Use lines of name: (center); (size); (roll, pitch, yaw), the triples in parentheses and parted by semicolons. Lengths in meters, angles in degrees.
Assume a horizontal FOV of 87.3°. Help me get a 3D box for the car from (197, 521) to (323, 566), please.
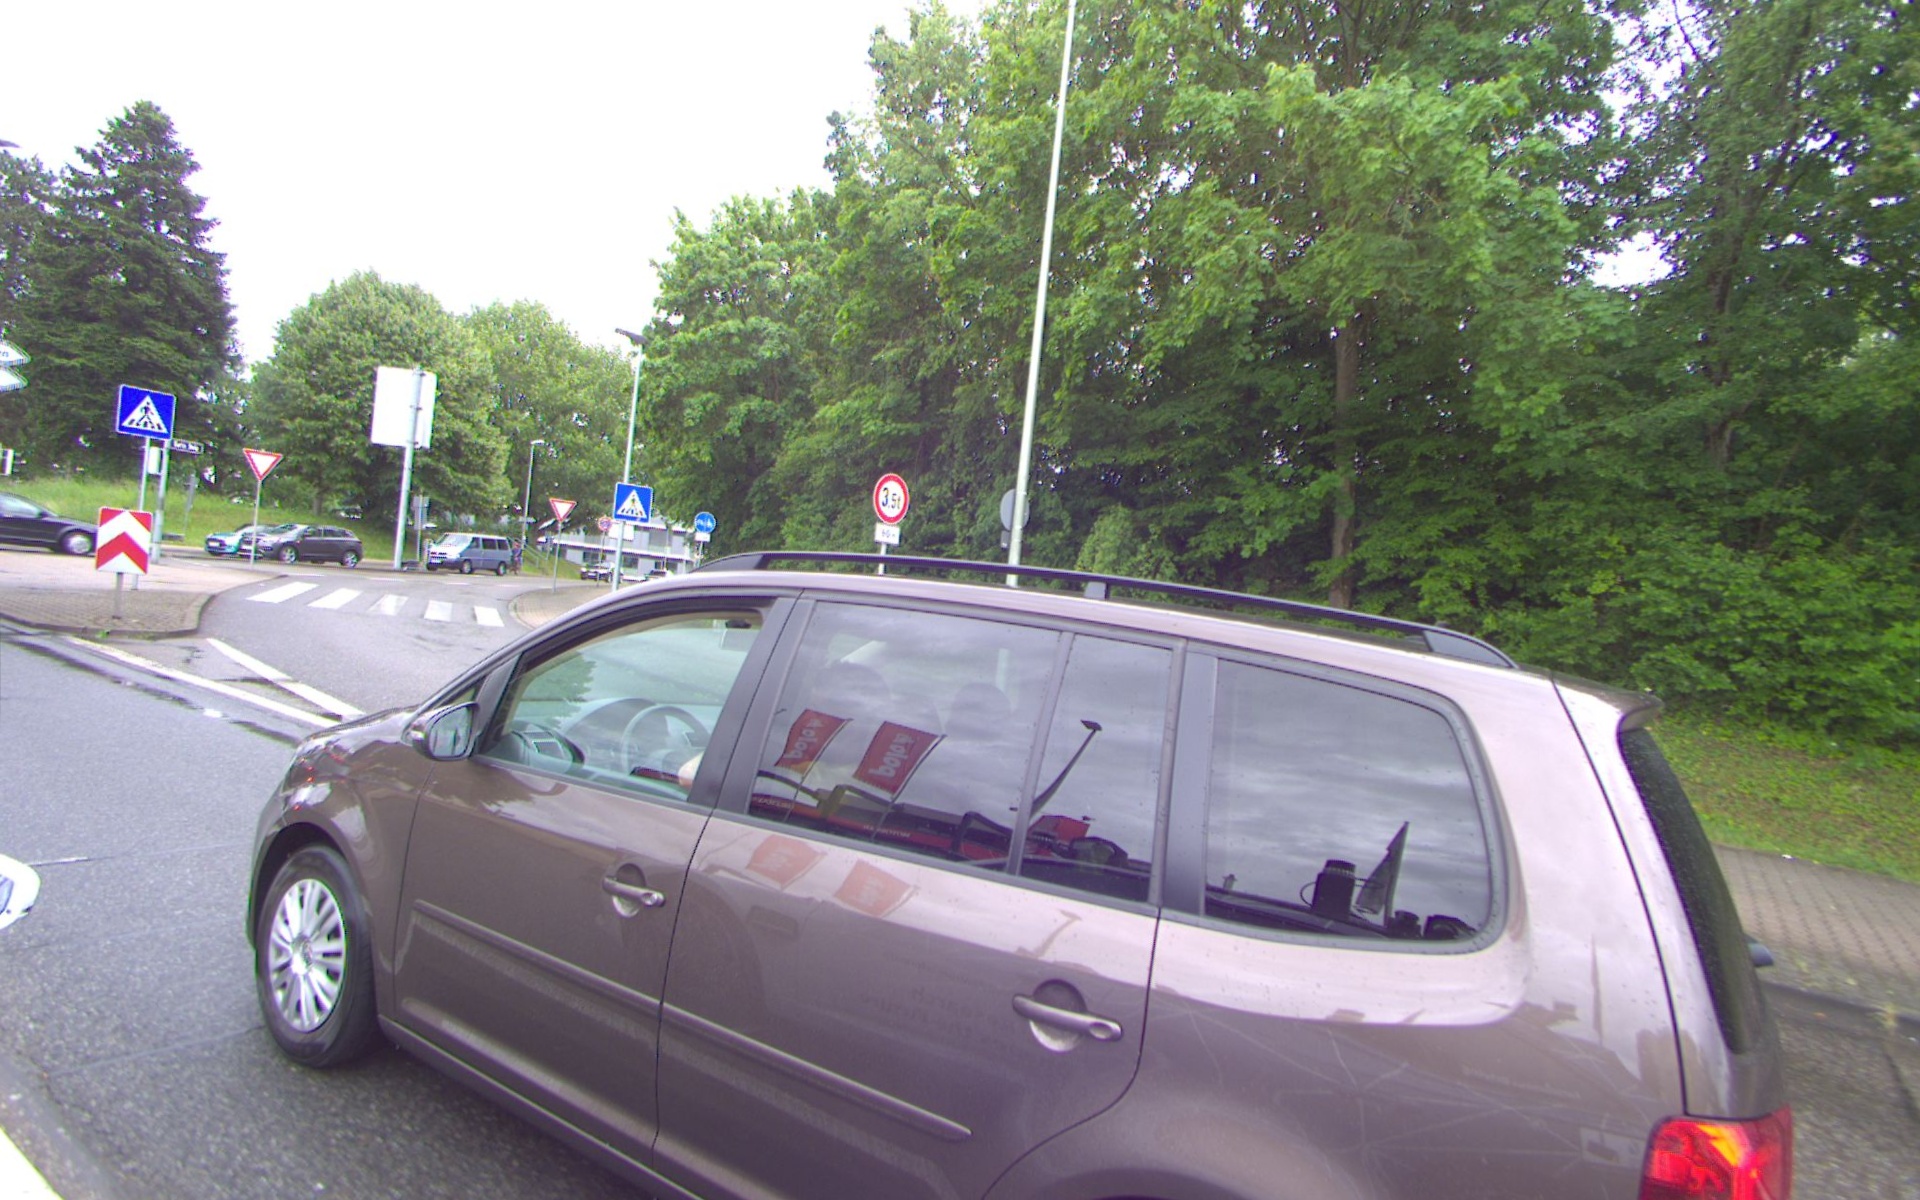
car: (-27.788, -2.219, 40.095); (1.578, 1.310, 3.999); (8, 1, 14)

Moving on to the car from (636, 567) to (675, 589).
car: (-23.621, -1.707, 78.228); (1.923, 1.337, 3.997); (7, 0, -4)

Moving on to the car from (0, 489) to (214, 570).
car: (-22.330, -1.801, 26.253); (1.869, 1.473, 4.090); (7, -1, 31)

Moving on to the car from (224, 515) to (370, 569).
car: (-25.129, -2.162, 38.330); (1.865, 1.485, 4.331); (7, 0, 18)

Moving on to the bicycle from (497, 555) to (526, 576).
bicycle: (-24.135, -1.862, 54.211); (0.568, 0.964, 1.750); (7, 0, 4)

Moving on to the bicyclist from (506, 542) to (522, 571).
bicyclist: (-24.079, -2.332, 54.330); (0.446, 1.507, 0.562); (7, 1, 4)

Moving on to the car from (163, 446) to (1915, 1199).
car: (-0.321, 0.630, 2.942); (4.061, 1.616, 1.717); (8, 0, 31)

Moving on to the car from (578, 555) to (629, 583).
car: (-22.742, -1.960, 64.353); (1.805, 1.465, 3.999); (7, 0, -1)

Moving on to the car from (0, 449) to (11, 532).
car: (-11.600, -0.807, 10.200); (3.880, 1.891, 1.745); (7, -1, 31)

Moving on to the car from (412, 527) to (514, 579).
car: (-23.105, -2.123, 47.033); (1.865, 1.874, 4.744); (9, 0, 5)
